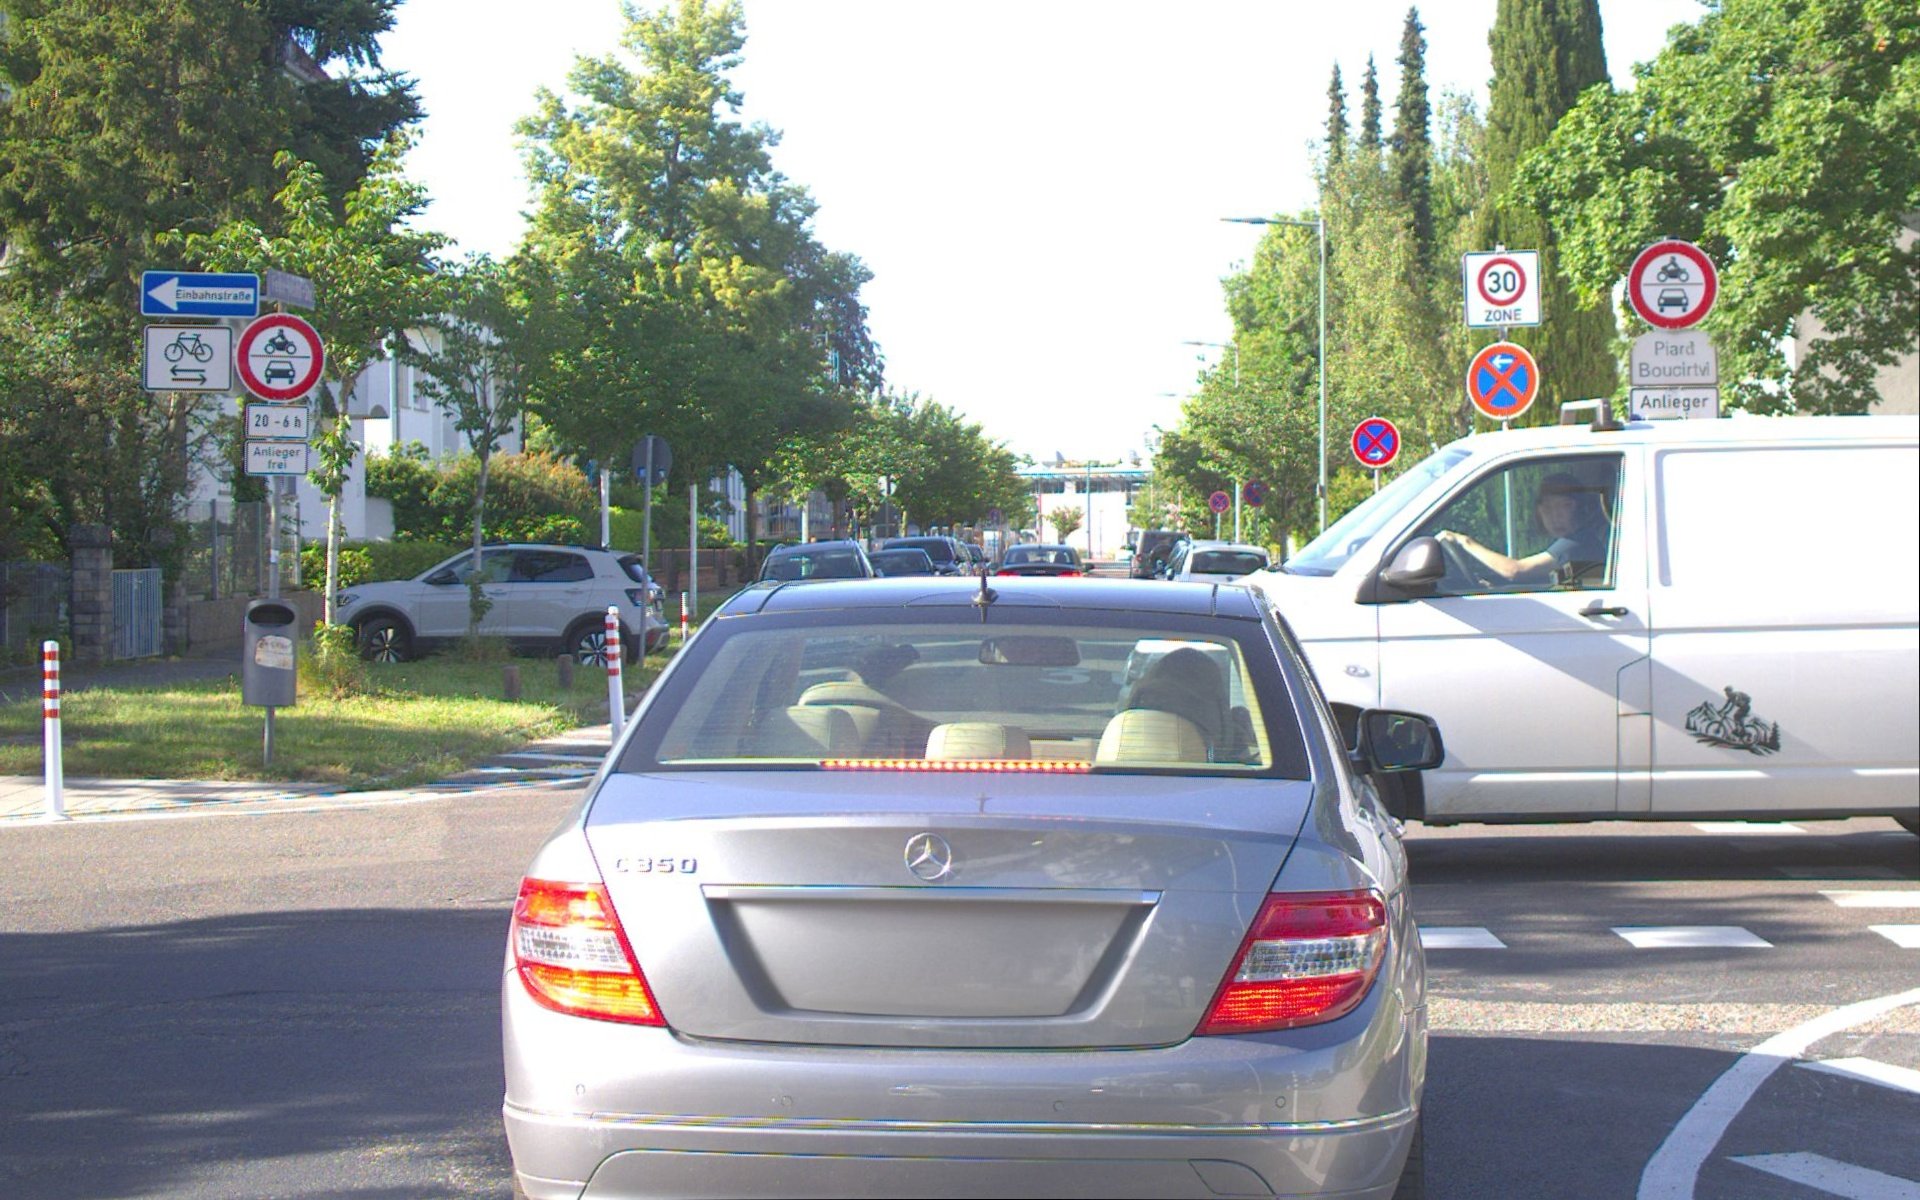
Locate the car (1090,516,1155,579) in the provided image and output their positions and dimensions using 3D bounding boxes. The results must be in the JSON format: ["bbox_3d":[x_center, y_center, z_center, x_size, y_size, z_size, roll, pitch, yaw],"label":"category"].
[{"bbox_3d":[4.891,-1.600,103.871,1.855,1.835,4.000,-1,1,2],"label":"car"}]

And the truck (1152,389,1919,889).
[{"bbox_3d":[3.307,0.129,15.185,4.858,2.029,2.000,-1,1,3],"label":"truck"}]

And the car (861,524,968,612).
[{"bbox_3d":[-0.886,-0.674,69.661,1.993,1.604,4.000,-4,1,0],"label":"car"}]

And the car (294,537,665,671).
[{"bbox_3d":[-5.694,0.035,41.088,4.192,1.558,1.842,0,1,0],"label":"car"}]

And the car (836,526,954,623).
[{"bbox_3d":[-1.177,-0.506,63.872,1.993,1.604,4.000,-4,1,0],"label":"car"}]

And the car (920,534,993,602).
[{"bbox_3d":[-0.081,-0.849,89.050,1.734,1.604,3.935,-4,1,0],"label":"car"}]

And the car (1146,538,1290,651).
[{"bbox_3d":[3.576,-0.110,48.153,1.733,1.474,3.725,-1,1,0],"label":"car"}]

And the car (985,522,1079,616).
[{"bbox_3d":[1.269,-0.583,61.388,1.597,1.604,3.644,-1,1,0],"label":"car"}]

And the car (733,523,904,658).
[{"bbox_3d":[-1.848,-0.167,46.078,1.993,1.604,4.000,-4,1,0],"label":"car"}]

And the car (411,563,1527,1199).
[{"bbox_3d":[0.122,0.654,7.651,1.836,1.436,4.000,0,1,3],"label":"car"}]

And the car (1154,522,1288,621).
[{"bbox_3d":[4.427,-0.521,58.894,1.993,1.604,4.000,-1,1,0],"label":"car"}]
